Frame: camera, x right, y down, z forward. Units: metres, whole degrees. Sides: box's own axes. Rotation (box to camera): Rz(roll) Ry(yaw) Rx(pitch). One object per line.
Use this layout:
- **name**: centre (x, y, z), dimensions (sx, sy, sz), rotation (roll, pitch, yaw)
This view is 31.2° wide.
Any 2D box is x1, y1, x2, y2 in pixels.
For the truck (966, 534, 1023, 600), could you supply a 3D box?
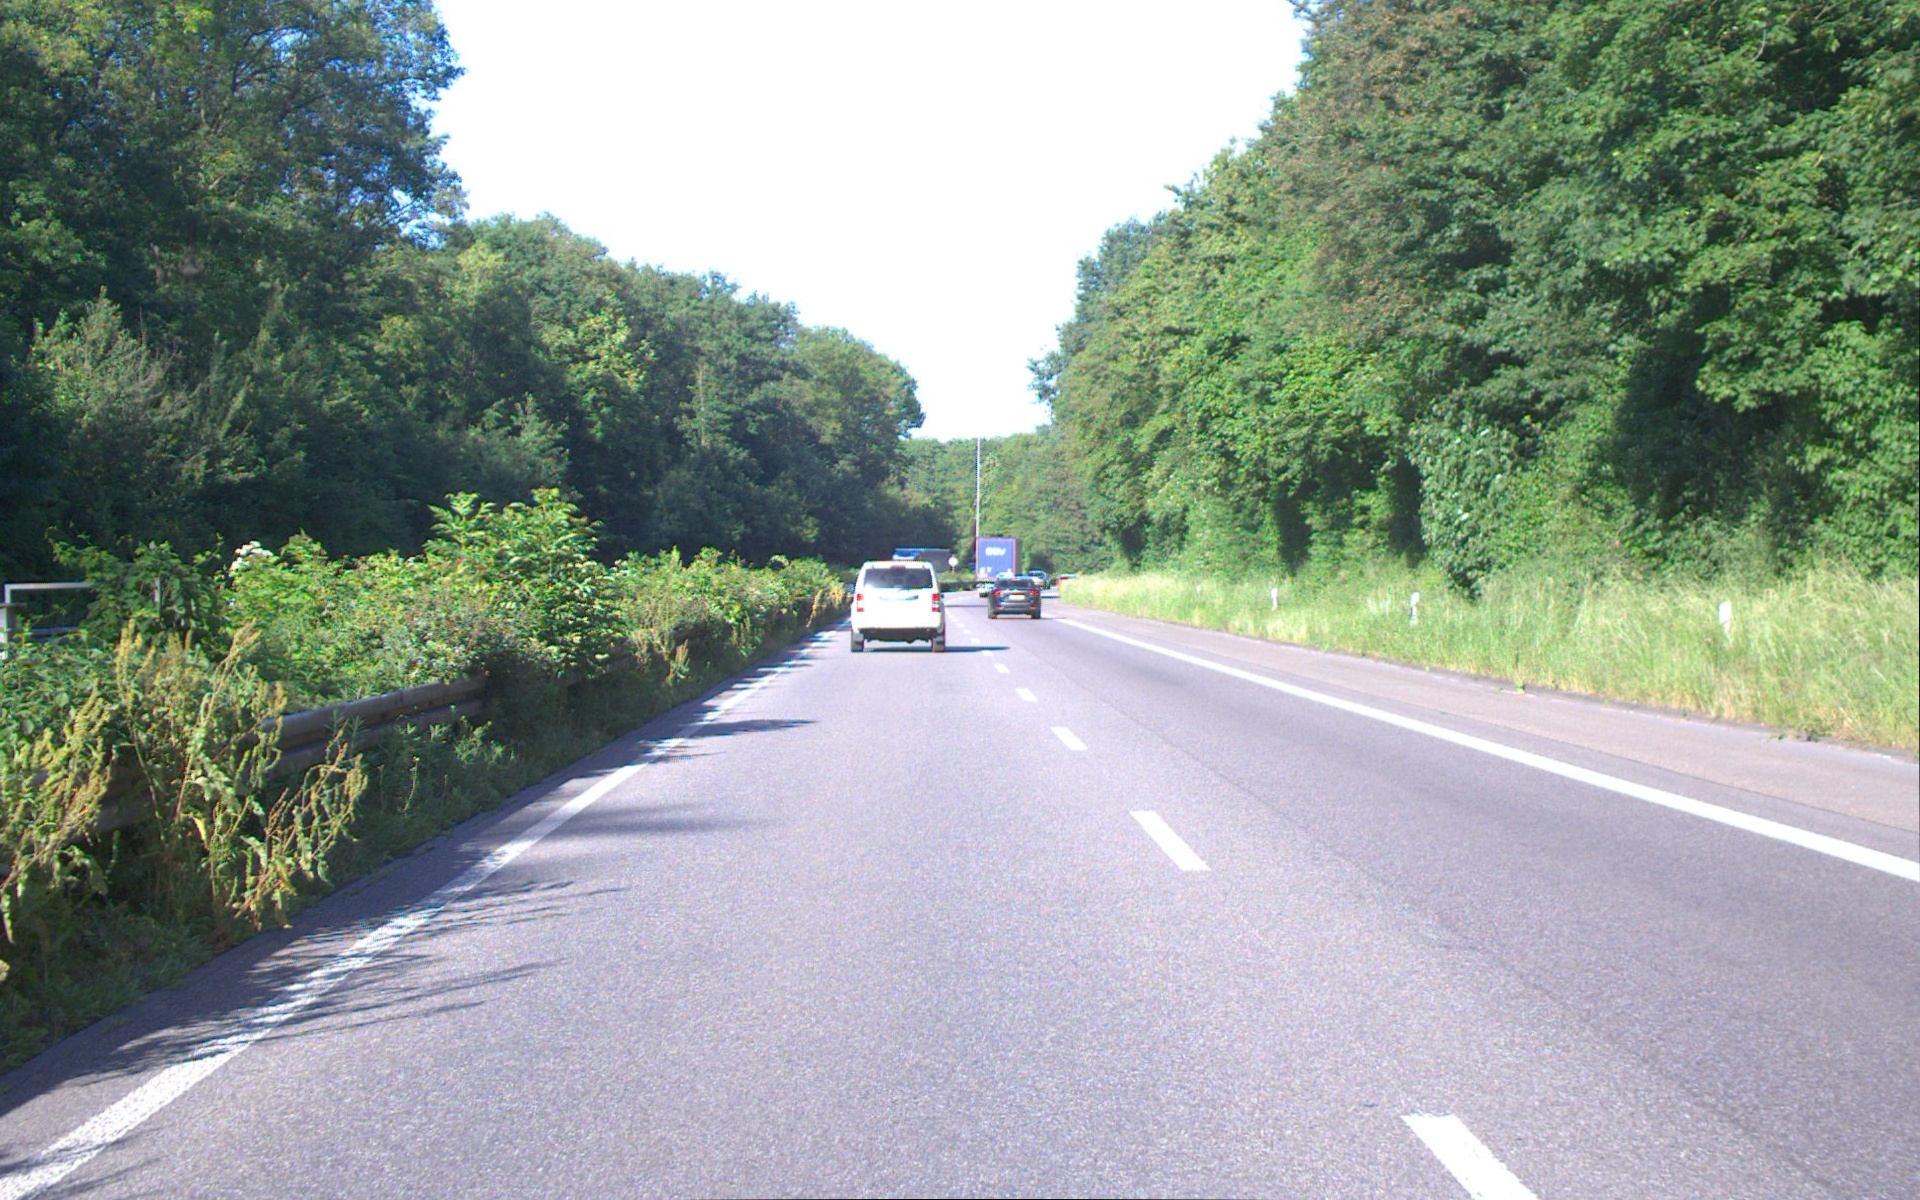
- **truck**: centre (2.370, -2.218, 233.107), dimensions (3.734, 4.329, 9.304), rotation (1, 0, 1)

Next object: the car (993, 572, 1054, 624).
- **car**: centre (2.217, -0.076, 120.517), dimensions (1.951, 1.776, 4.588), rotation (1, 0, -1)

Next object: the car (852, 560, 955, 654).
- **car**: centre (-1.127, 0.135, 67.974), dimensions (1.951, 1.776, 4.588), rotation (1, 0, -1)
